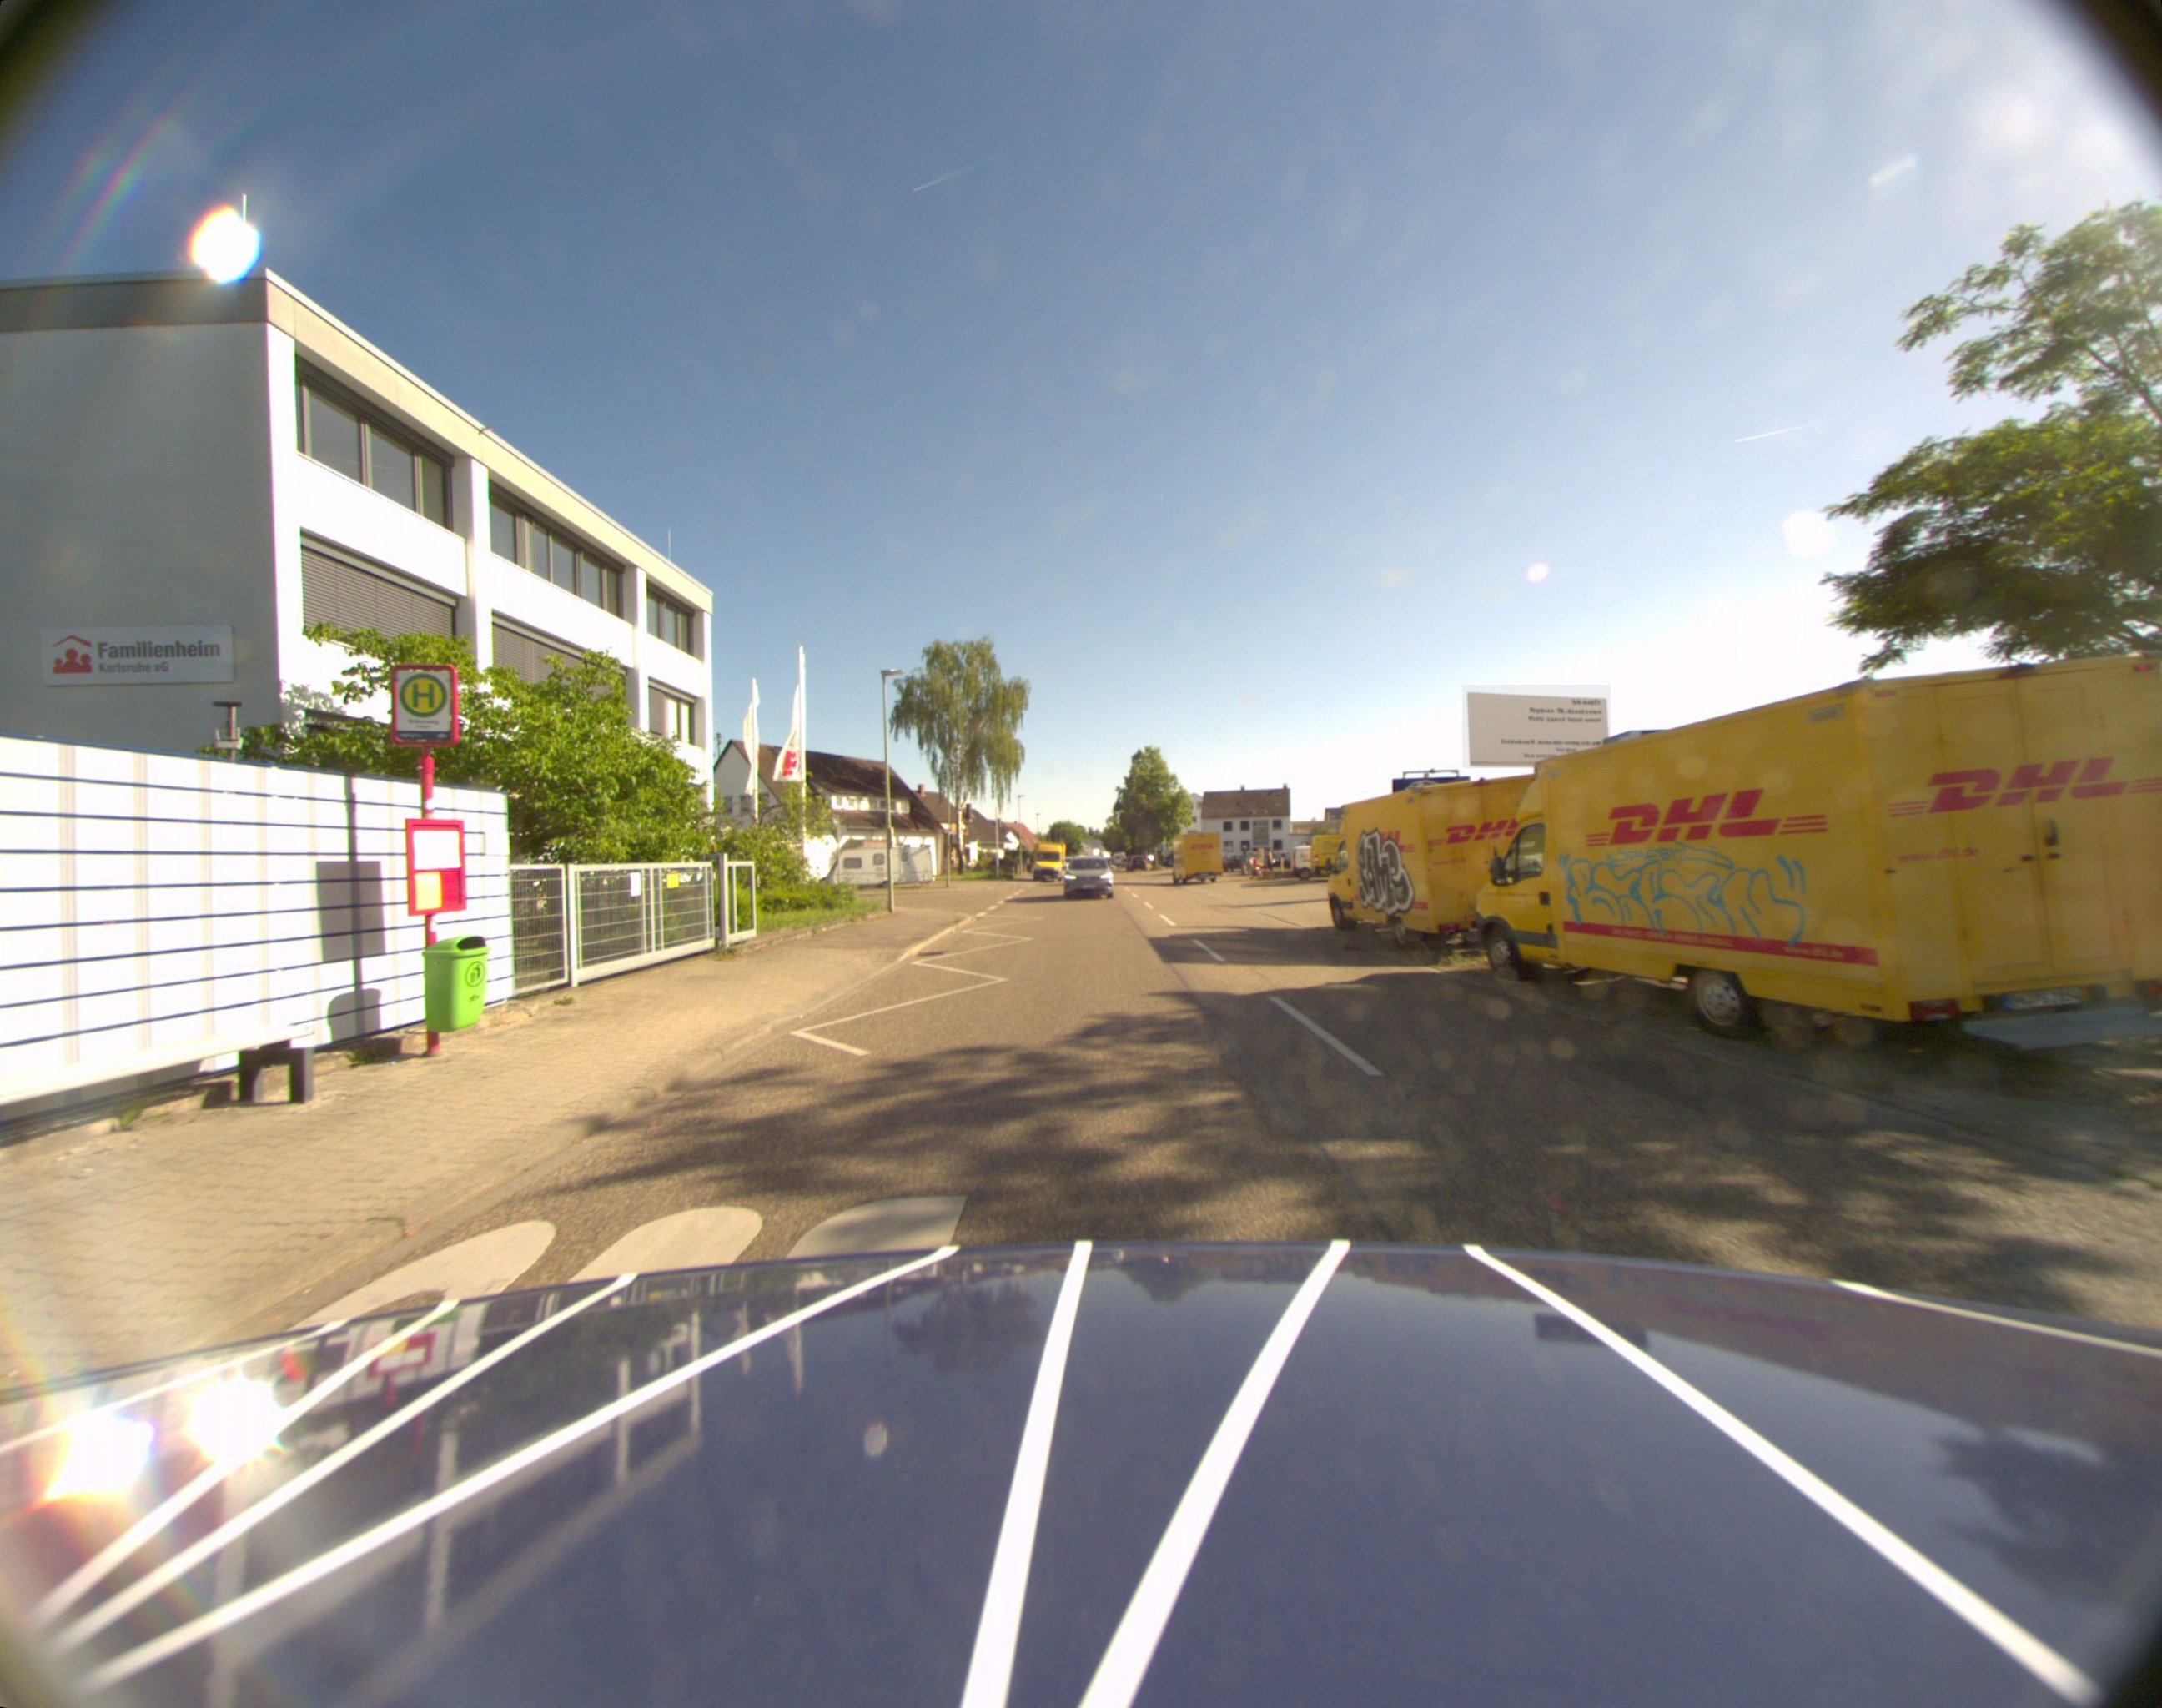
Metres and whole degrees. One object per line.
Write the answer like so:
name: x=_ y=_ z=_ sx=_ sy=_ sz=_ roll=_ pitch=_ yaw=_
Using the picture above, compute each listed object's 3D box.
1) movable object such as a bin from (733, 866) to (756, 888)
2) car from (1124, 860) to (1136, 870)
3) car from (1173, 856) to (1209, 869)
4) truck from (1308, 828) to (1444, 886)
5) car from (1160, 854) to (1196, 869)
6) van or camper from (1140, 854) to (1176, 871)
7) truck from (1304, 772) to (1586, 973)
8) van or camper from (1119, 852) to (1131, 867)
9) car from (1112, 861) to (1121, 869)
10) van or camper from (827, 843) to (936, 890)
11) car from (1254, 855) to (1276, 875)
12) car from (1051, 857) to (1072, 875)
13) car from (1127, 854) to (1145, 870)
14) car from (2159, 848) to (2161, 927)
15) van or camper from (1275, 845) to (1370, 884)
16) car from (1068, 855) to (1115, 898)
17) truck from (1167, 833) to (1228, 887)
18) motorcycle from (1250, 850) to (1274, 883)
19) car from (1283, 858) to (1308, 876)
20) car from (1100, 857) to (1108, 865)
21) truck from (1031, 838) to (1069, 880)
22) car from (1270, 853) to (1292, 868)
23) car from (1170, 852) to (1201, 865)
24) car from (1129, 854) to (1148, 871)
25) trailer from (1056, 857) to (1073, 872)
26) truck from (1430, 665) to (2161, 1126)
movable object such as a bin: x=-21.592 y=1.471 z=48.745 sx=0.834 sy=1.428 sz=0.993 roll=-1 pitch=0 yaw=24
car: x=7.567 y=1.652 z=118.622 sx=1.691 sy=1.427 sz=4.209 roll=-4 pitch=0 yaw=2
car: x=14.101 y=1.094 z=97.598 sx=4.260 sy=1.576 sz=1.766 roll=-2 pitch=0 yaw=0
truck: x=14.586 y=0.157 z=37.965 sx=5.931 sy=2.552 sz=2.226 roll=-3 pitch=0 yaw=12
car: x=11.928 y=0.880 z=93.878 sx=4.258 sy=1.742 sz=1.766 roll=-1 pitch=0 yaw=4
van or camper: x=10.938 y=1.183 z=108.000 sx=4.900 sy=2.307 sz=2.245 roll=-2 pitch=1 yaw=11
truck: x=6.525 y=0.289 z=14.857 sx=2.409 sy=2.965 sz=6.374 roll=-3 pitch=0 yaw=1
van or camper: x=8.140 y=1.039 z=140.914 sx=2.127 sy=2.474 sz=5.558 roll=-1 pitch=-2 yaw=3
car: x=7.497 y=2.262 z=161.013 sx=1.697 sy=1.556 sz=3.908 roll=-4 pitch=0 yaw=3
van or camper: x=-11.735 y=0.691 z=44.667 sx=5.840 sy=2.526 sz=2.285 roll=-1 pitch=0 yaw=-25
car: x=16.653 y=0.977 z=68.763 sx=1.779 sy=1.737 sz=4.169 roll=-1 pitch=-1 yaw=12
car: x=-1.820 y=1.073 z=68.741 sx=1.788 sy=1.533 sz=4.536 roll=-1 pitch=0 yaw=-3
car: x=6.645 y=0.961 z=91.680 sx=1.808 sy=1.742 sz=4.342 roll=-3 pitch=0 yaw=1
car: x=21.894 y=0.658 z=13.086 sx=1.696 sy=1.569 sz=3.922 roll=-1 pitch=0 yaw=14
van or camper: x=13.052 y=0.545 z=41.318 sx=4.552 sy=2.002 sz=2.252 roll=-1 pitch=0 yaw=7
car: x=0.395 y=0.874 z=30.767 sx=1.777 sy=1.624 sz=3.704 roll=-1 pitch=-1 yaw=0
truck: x=6.967 y=0.347 z=46.368 sx=2.409 sy=2.965 sz=7.245 roll=-3 pitch=0 yaw=-1
motorcycle: x=10.964 y=0.765 z=46.077 sx=0.783 sy=1.862 sz=3.042 roll=-4 pitch=-1 yaw=4
car: x=18.939 y=1.189 z=67.135 sx=1.779 sy=1.536 sz=4.169 roll=-1 pitch=-1 yaw=12
car: x=5.833 y=1.717 z=191.399 sx=1.899 sy=2.019 sz=4.818 roll=0 pitch=0 yaw=1
truck: x=-2.233 y=0.340 z=56.671 sx=2.409 sy=2.919 sz=7.016 roll=1 pitch=0 yaw=0
car: x=21.166 y=0.693 z=80.405 sx=1.667 sy=1.555 sz=3.851 roll=-1 pitch=0 yaw=7
car: x=13.644 y=0.618 z=99.074 sx=3.814 sy=1.533 sz=1.548 roll=-2 pitch=0 yaw=1
car: x=6.470 y=0.944 z=85.482 sx=1.678 sy=1.761 sz=4.555 roll=-3 pitch=0 yaw=0
trailer: x=-1.749 y=1.134 z=80.595 sx=1.631 sy=1.529 sz=3.198 roll=-1 pitch=0 yaw=2
truck: x=6.360 y=0.273 z=8.109 sx=2.198 sy=2.885 sz=6.438 roll=-3 pitch=0 yaw=0
